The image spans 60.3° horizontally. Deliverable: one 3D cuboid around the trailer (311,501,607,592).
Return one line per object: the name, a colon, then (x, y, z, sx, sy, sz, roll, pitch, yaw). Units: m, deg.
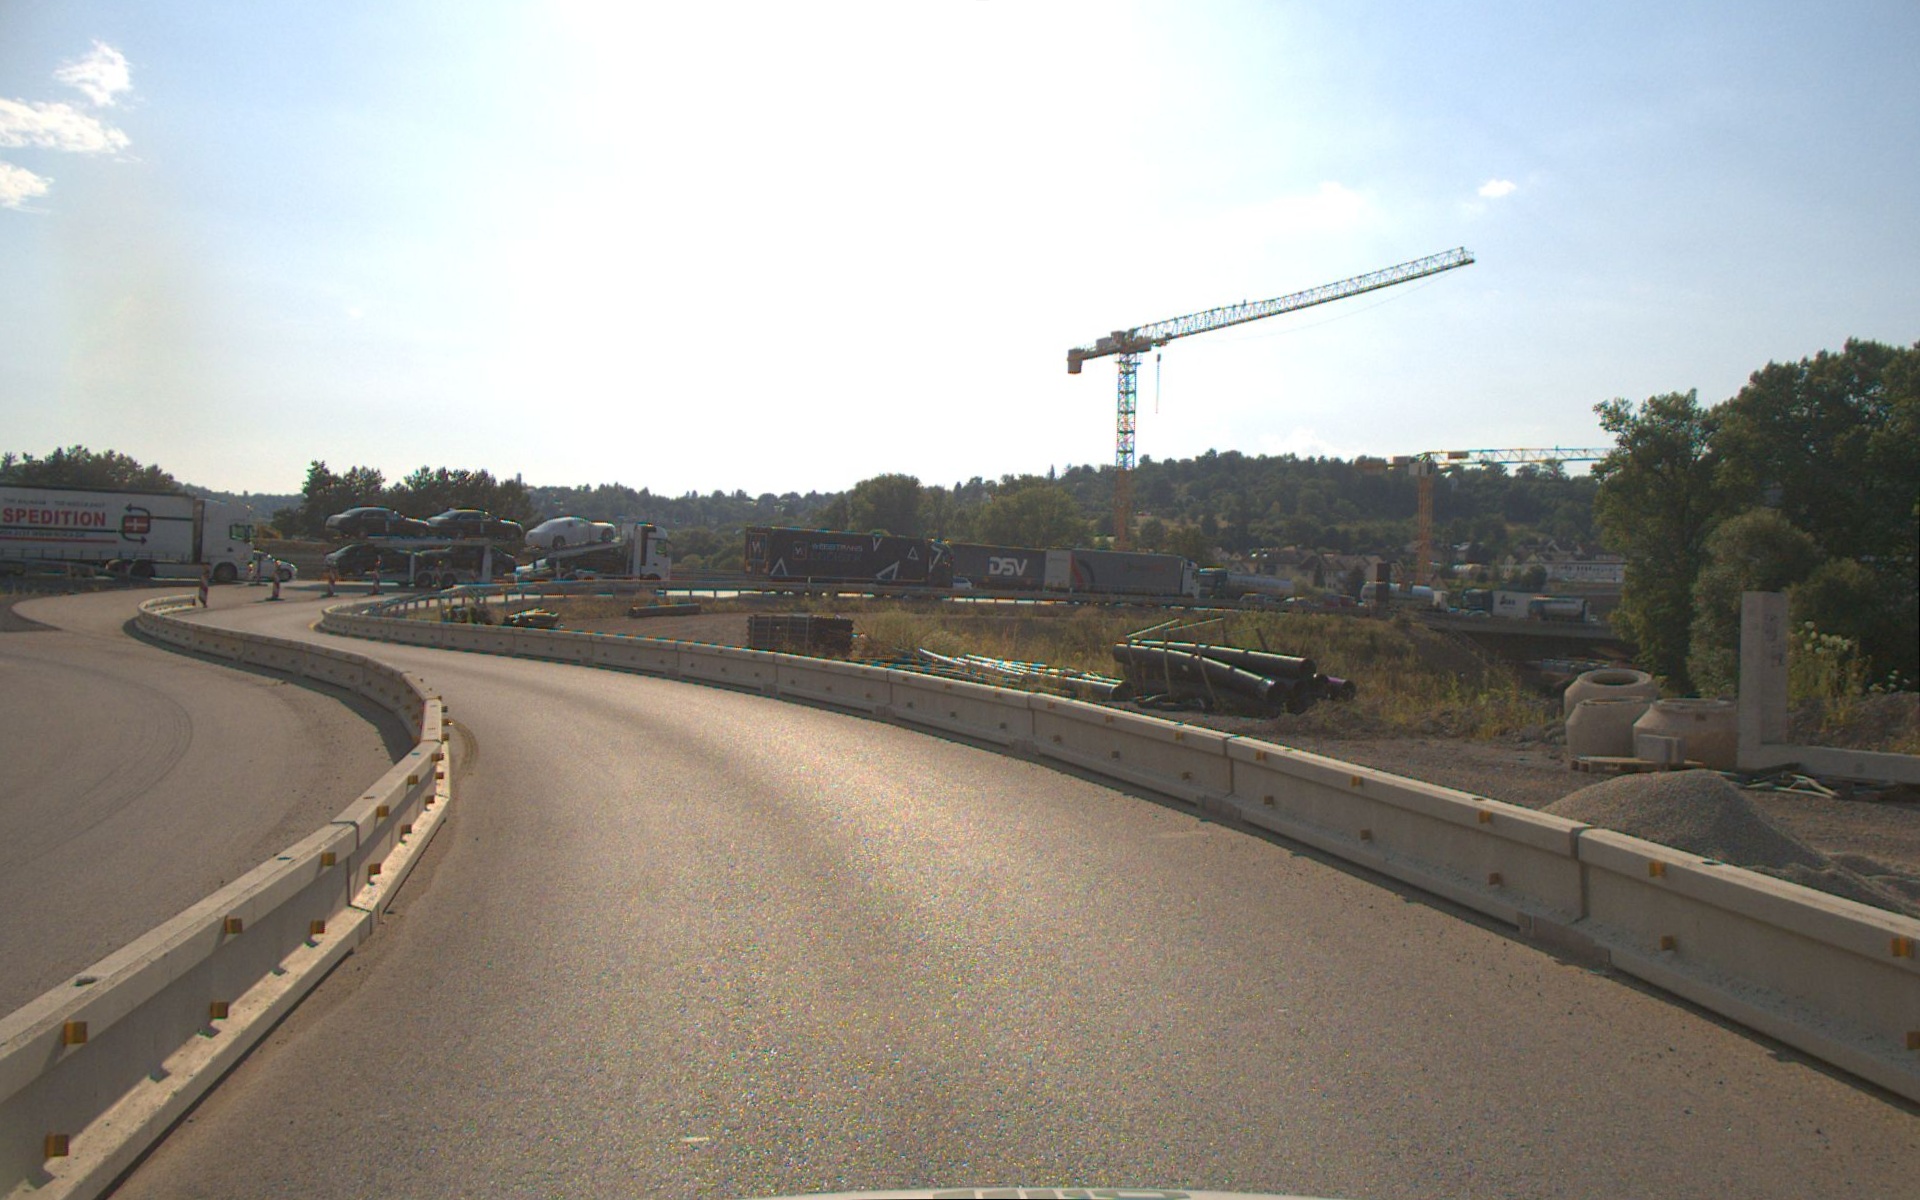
trailer: (-26.181, -2.701, 87.818, 2.818, 4.066, 15.640, 3, 0, 43)

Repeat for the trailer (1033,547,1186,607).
trailer: (11.756, -1.704, 127.792, 3.338, 4.066, 14.646, 3, 0, 43)

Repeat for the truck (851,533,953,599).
truck: (-3.876, -2.260, 111.377, 2.847, 4.066, 6.576, 3, 0, 45)

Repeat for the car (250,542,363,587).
car: (-33.426, -1.798, 84.692, 2.002, 2.015, 4.944, 5, 3, 44)

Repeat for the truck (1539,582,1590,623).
truck: (69.230, 0.321, 189.419, 3.055, 4.360, 6.580, 3, 0, 43)

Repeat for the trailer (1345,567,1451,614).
trailer: (42.681, -0.836, 160.766, 3.338, 4.066, 14.646, 3, 0, 43)

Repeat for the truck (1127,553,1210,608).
truck: (16.851, -1.544, 133.275, 3.297, 4.066, 6.580, 3, 0, 43)

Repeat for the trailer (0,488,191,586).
trailer: (-41.034, -2.817, 72.227, 2.446, 3.945, 13.541, 3, 1, 43)

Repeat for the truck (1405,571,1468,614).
truck: (48.032, -0.708, 166.504, 3.343, 4.066, 6.580, 3, 0, 43)

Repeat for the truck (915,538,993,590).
truck: (-0.456, -2.800, 129.098, 2.955, 3.792, 5.648, 1, -1, 44)

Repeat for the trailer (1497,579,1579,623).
trailer: (64.578, 0.150, 184.434, 3.061, 4.389, 14.156, 3, 0, 43)

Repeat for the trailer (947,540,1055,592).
trailer: (3.378, -2.683, 133.055, 2.966, 3.817, 9.501, 1, -1, 44)

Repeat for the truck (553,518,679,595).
truck: (-19.660, -2.454, 94.791, 2.809, 4.066, 6.580, 3, 0, 43)

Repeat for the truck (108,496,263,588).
truck: (-36.209, -2.670, 77.449, 2.446, 3.945, 5.972, 3, 0, 43)

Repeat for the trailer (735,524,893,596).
trailer: (-9.231, -2.480, 105.919, 2.919, 4.163, 10.715, 1, 0, 44)

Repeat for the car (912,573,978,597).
car: (-1.100, -1.111, 124.188, 2.002, 1.526, 4.944, 5, 3, 44)
